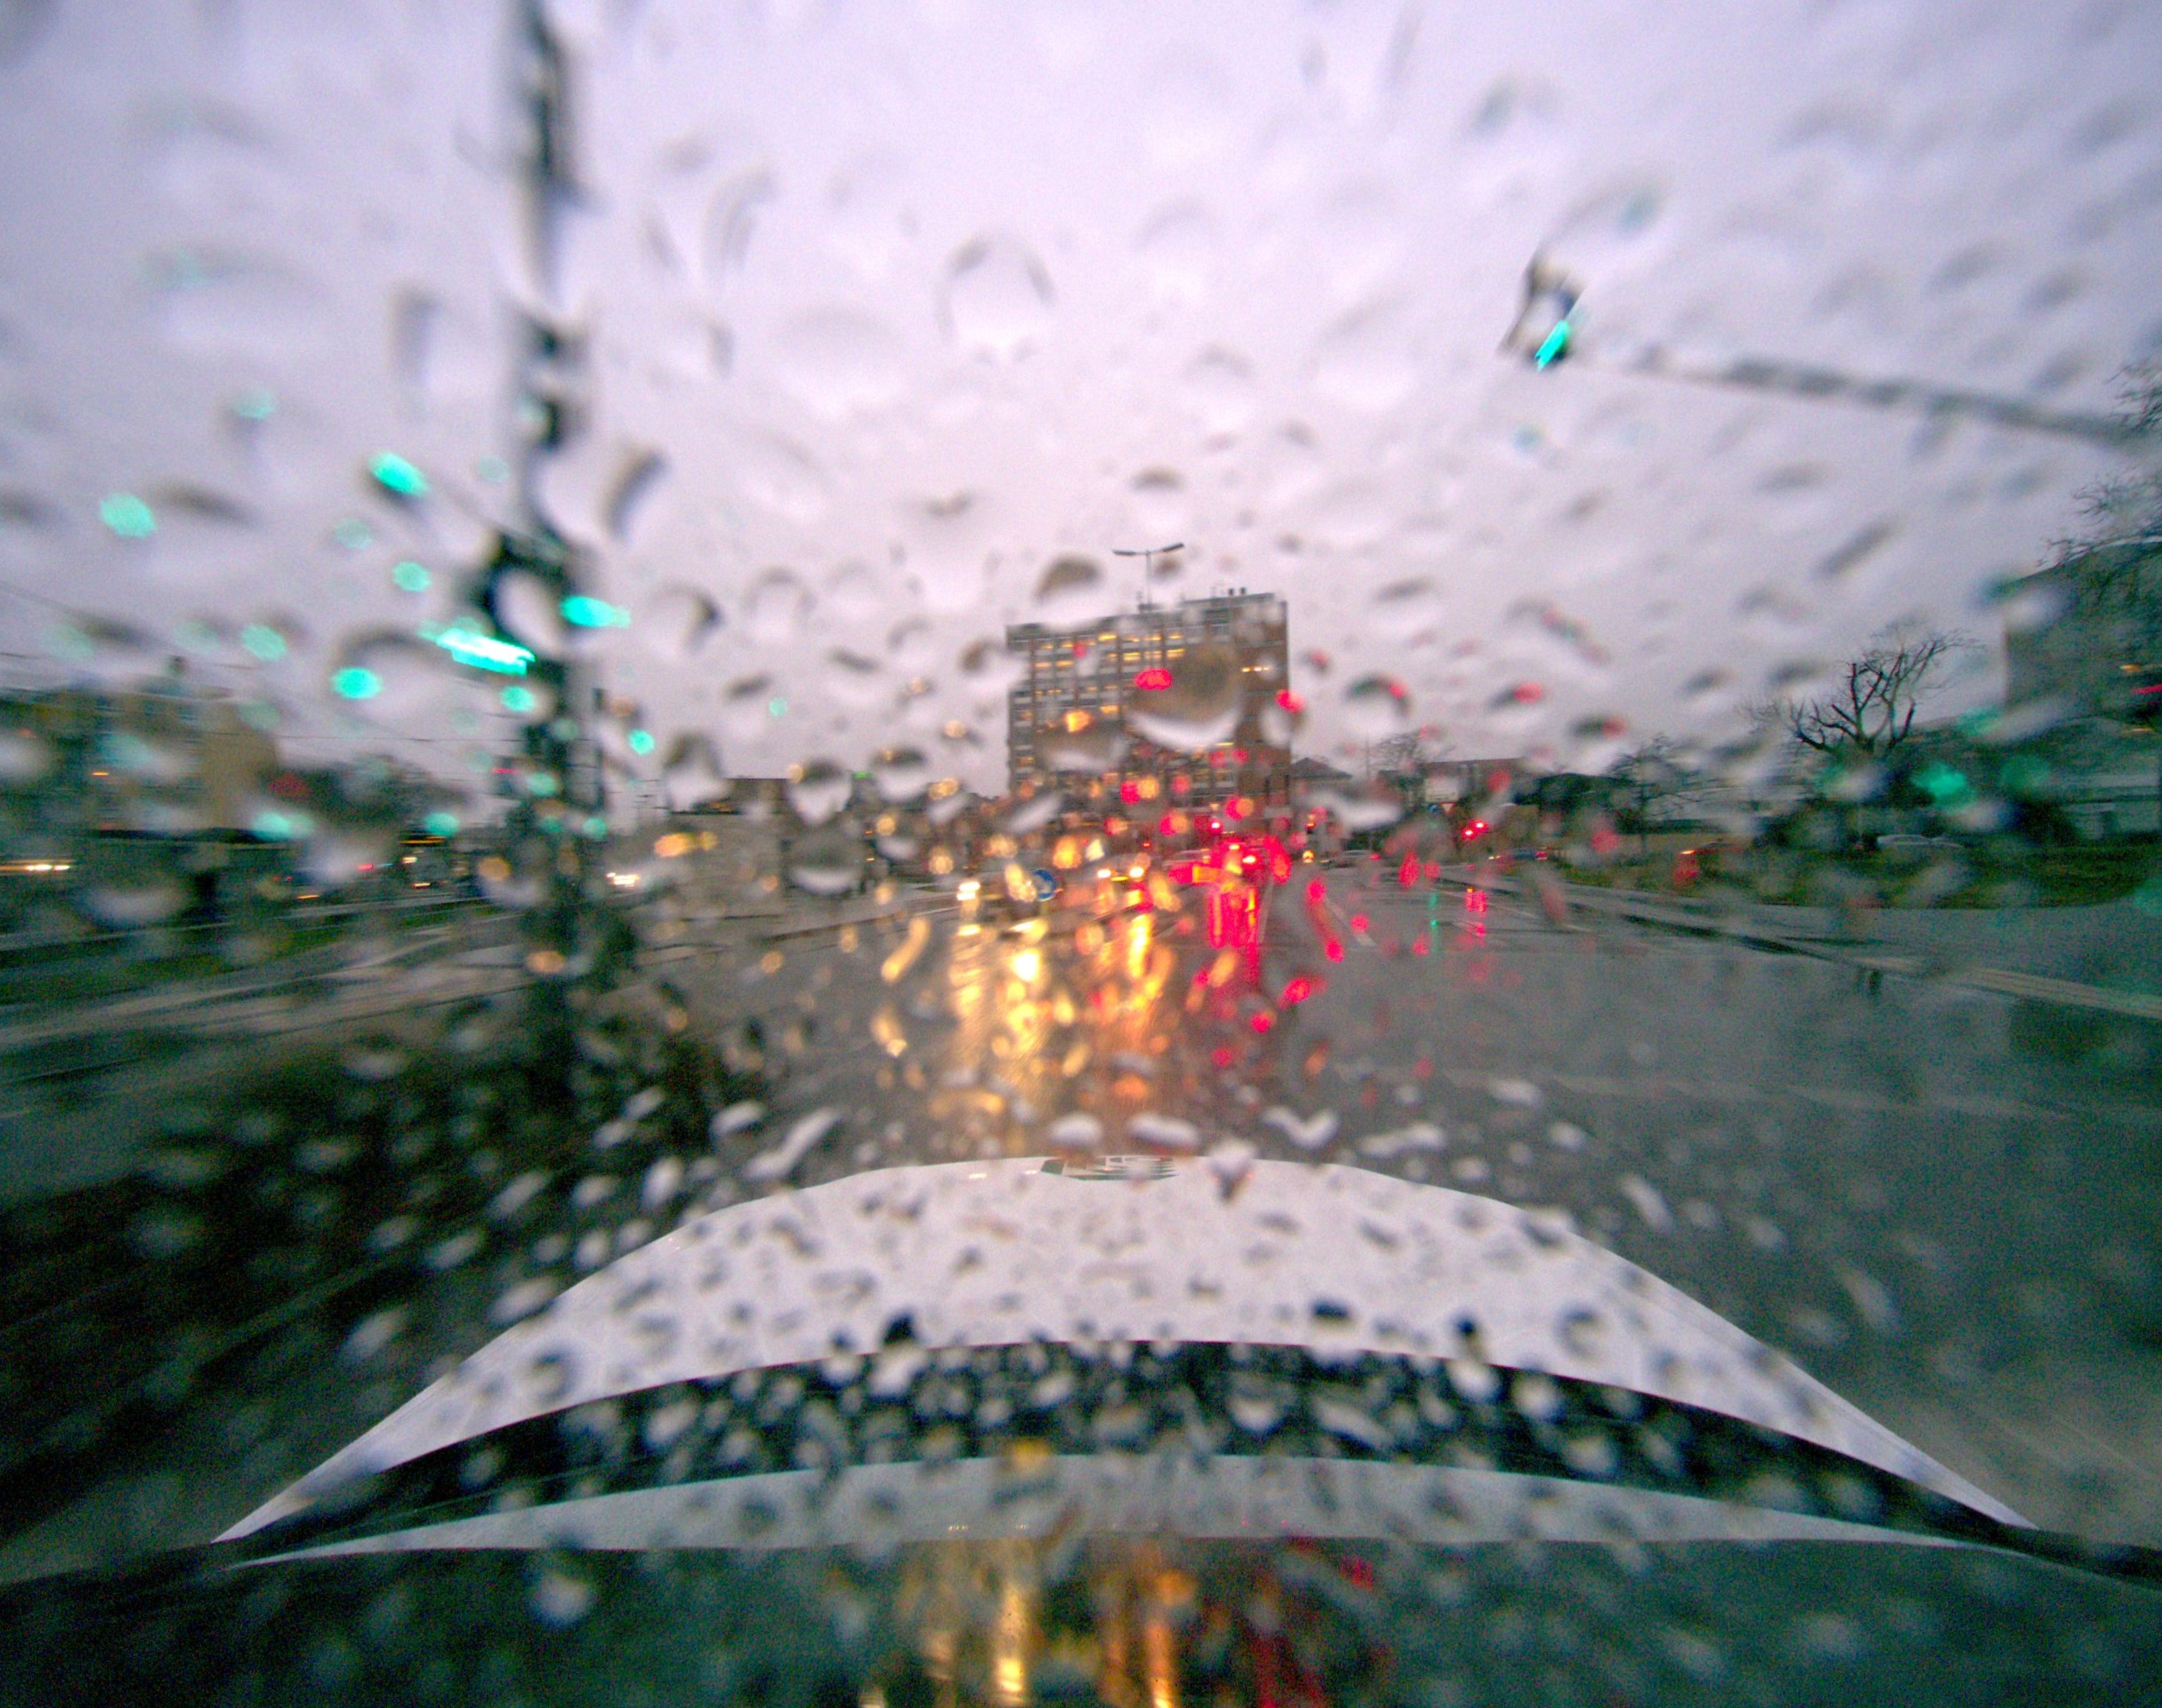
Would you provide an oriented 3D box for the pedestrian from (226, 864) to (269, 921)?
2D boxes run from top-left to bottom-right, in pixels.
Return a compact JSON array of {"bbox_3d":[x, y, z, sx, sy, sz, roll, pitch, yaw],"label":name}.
[{"bbox_3d":[-26.886,1.224,26.282,0.715,1.806,0.712,0,-2,-21],"label":"pedestrian"}]

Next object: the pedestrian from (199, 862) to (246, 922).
[{"bbox_3d":[-26.559,1.168,25.206,0.715,1.806,0.712,0,-2,-21],"label":"pedestrian"}]

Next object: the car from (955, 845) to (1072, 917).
[{"bbox_3d":[-1.666,0.639,21.844,1.742,1.662,4.546,-3,0,13],"label":"car"}]

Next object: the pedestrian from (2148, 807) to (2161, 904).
[{"bbox_3d":[19.225,0.008,14.047,0.964,1.675,0.773,-2,-1,-25],"label":"pedestrian"}]

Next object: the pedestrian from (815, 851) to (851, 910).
[{"bbox_3d":[-7.165,0.772,23.574,0.668,1.674,0.733,0,-2,17],"label":"pedestrian"}]

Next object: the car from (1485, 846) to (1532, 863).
[{"bbox_3d":[35.576,0.080,67.800,3.378,1.398,1.478,-1,-2,29],"label":"car"}]

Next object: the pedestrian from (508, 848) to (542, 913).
[{"bbox_3d":[-15.936,0.747,23.344,0.605,1.813,0.819,1,-2,-22],"label":"pedestrian"}]

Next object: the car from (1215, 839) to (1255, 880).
[{"bbox_3d":[7.280,0.216,38.355,1.635,1.819,4.015,0,1,14],"label":"car"}]

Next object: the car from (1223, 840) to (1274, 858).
[{"bbox_3d":[18.997,-0.527,92.344,5.501,2.024,2.009,0,-2,19],"label":"car"}]

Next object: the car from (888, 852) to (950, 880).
[{"bbox_3d":[-13.984,1.042,70.284,4.973,2.282,2.272,-1,-2,30],"label":"car"}]

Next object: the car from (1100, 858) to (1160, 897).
[{"bbox_3d":[2.129,0.935,34.344,1.734,1.378,4.382,-3,0,13],"label":"car"}]

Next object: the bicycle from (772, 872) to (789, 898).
[{"bbox_3d":[-13.566,1.392,36.822,0.550,1.165,1.888,1,-2,-16],"label":"bicycle"}]

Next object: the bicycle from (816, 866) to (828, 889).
[{"bbox_3d":[-13.763,1.255,43.281,0.550,1.165,1.888,1,-2,-16],"label":"bicycle"}]

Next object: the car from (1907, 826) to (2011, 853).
[{"bbox_3d":[35.061,-0.569,32.588,2.647,0.977,1.310,-2,1,38],"label":"car"}]

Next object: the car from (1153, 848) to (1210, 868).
[{"bbox_3d":[9.803,0.367,79.280,5.106,1.913,2.012,-1,0,29],"label":"car"}]

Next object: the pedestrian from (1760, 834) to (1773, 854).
[{"bbox_3d":[59.601,-0.832,70.821,0.618,1.725,0.764,0,-2,20],"label":"pedestrian"}]

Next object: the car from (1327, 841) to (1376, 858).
[{"bbox_3d":[23.908,-0.389,71.983,3.879,1.486,1.478,-1,-2,29],"label":"car"}]

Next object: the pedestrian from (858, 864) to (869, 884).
[{"bbox_3d":[-19.274,1.776,72.137,0.456,1.697,0.801,-1,-2,37],"label":"pedestrian"}]

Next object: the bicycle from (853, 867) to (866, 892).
[{"bbox_3d":[-10.511,1.203,38.657,0.550,1.165,1.888,1,-2,-16],"label":"bicycle"}]

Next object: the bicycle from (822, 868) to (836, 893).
[{"bbox_3d":[-12.052,1.281,38.945,0.550,1.165,1.888,1,-2,-16],"label":"bicycle"}]

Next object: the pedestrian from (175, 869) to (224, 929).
[{"bbox_3d":[-26.178,1.317,24.198,0.715,1.757,0.712,0,-1,-21],"label":"pedestrian"}]

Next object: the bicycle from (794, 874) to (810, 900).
[{"bbox_3d":[-12.583,1.476,36.767,0.550,1.165,1.888,1,-2,-16],"label":"bicycle"}]

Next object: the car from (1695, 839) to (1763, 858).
[{"bbox_3d":[49.756,-0.404,62.618,3.757,1.398,1.573,0,-2,22],"label":"car"}]
